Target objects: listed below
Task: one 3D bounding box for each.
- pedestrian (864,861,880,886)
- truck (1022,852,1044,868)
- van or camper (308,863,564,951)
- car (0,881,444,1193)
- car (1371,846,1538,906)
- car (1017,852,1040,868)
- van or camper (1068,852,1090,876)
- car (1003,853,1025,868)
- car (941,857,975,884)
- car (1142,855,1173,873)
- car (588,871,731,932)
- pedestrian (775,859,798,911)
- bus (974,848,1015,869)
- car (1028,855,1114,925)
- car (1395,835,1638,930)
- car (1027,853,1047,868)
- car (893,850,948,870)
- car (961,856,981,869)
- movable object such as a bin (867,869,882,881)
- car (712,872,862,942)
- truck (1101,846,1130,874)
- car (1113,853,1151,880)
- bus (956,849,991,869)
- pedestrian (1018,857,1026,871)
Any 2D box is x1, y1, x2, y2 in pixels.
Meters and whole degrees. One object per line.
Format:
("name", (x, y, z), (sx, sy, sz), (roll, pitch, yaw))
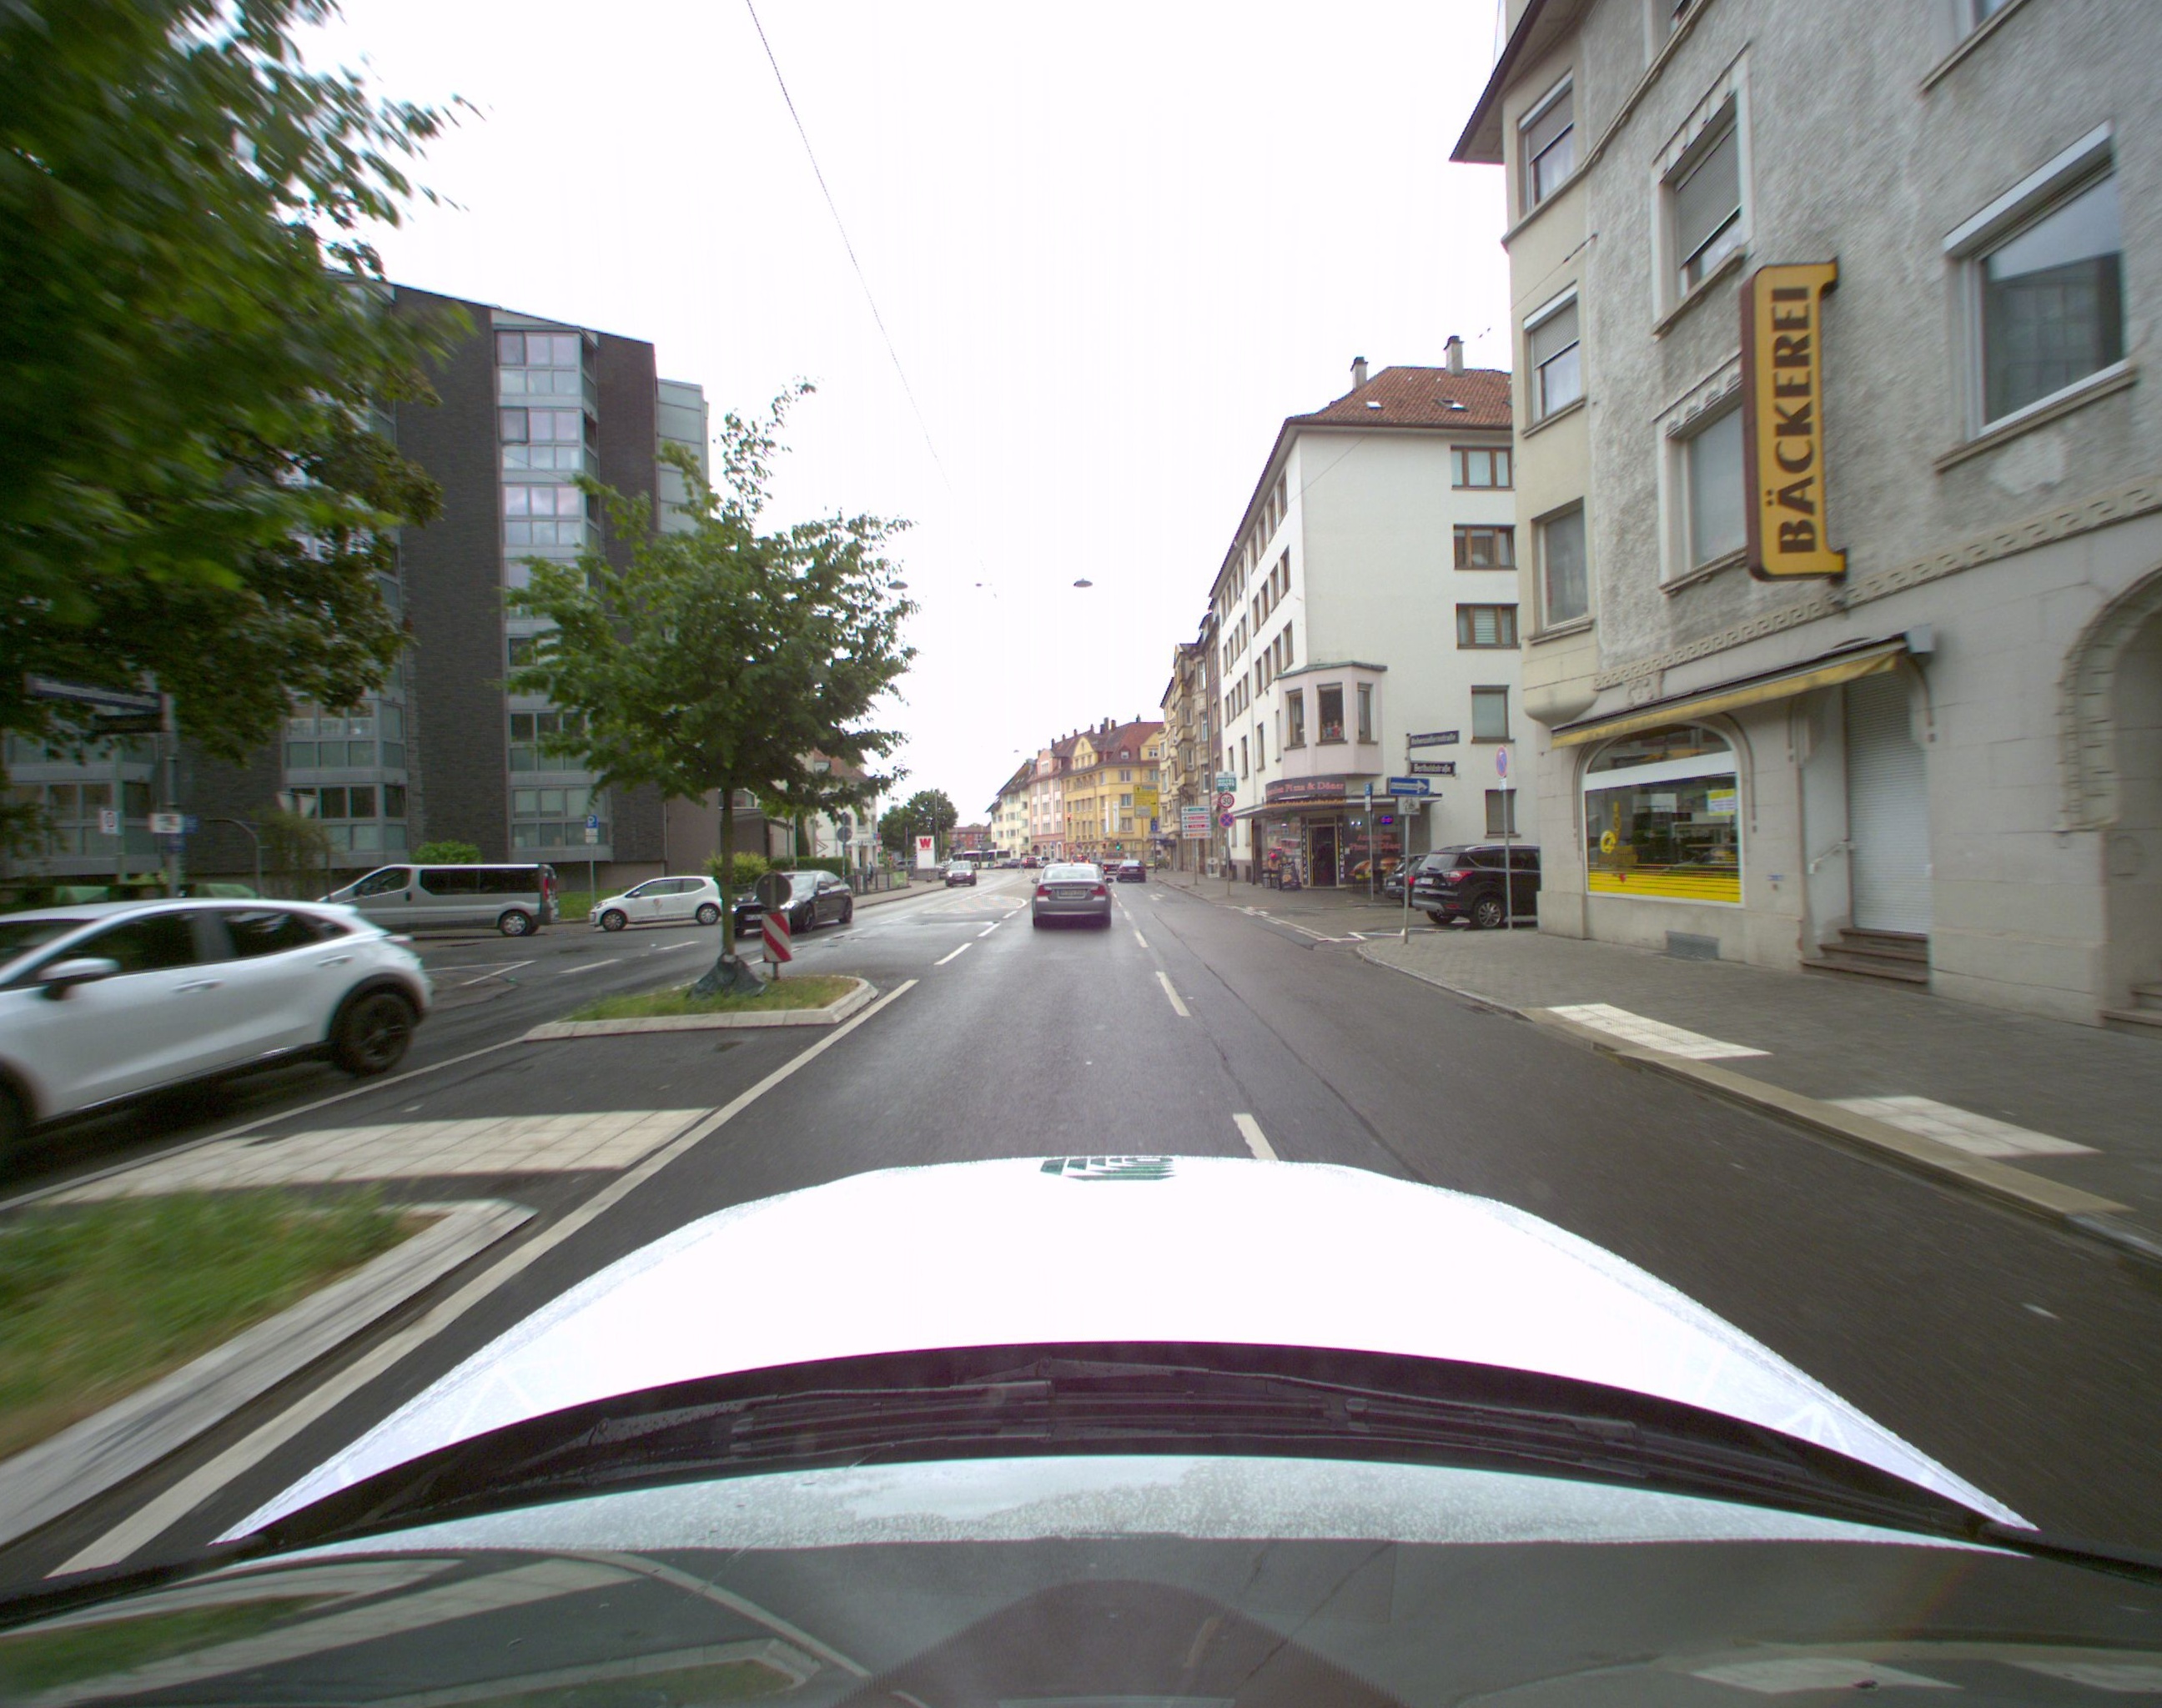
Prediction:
("pedestrian", (-14.179, 1.324, 55.240), (0.752, 1.685, 0.745), (-2, 0, -44))
("truck", (-7.648, 0.961, 129.850), (2.036, 2.389, 4.202), (0, 0, -25))
("van or camper", (-16.569, 1.268, 21.334), (4.981, 2.013, 1.981), (0, 0, -29))
("car", (-6.724, 1.074, 5.346), (1.814, 1.569, 4.088), (-3, 0, -1))
("car", (10.933, 0.649, 24.001), (4.101, 1.607, 1.802), (-1, -2, -6))
("car", (-7.087, 0.822, 110.210), (2.001, 2.013, 3.972), (-1, 0, -20))
("van or camper", (-0.197, 0.867, 74.954), (1.850, 2.146, 4.139), (-1, 0, -2))
("car", (-9.534, 0.897, 115.941), (2.001, 2.013, 3.972), (-1, 0, -21))
("car", (-8.134, 1.041, 53.557), (1.950, 1.659, 4.040), (-1, 0, -12))
("car", (8.595, 1.098, 90.857), (1.974, 2.013, 4.025), (-1, 0, 30))
("car", (-12.302, 1.311, 23.807), (3.602, 1.569, 1.723), (0, 0, -33))
("pedestrian", (-10.221, 1.070, 28.261), (0.573, 1.762, 0.580), (-1, 0, -6))
("bus", (-13.389, 0.729, 124.879), (2.926, 3.105, 9.058), (-2, 0, -28))
("car", (-0.223, 0.762, 19.183), (1.794, 1.464, 4.369), (0, 0, 0))
("car", (8.976, 0.552, 16.975), (4.132, 1.772, 1.870), (-1, 0, -6))
("car", (-6.708, 0.946, 123.874), (1.770, 2.180, 3.967), (2, -1, -25))
("car", (-13.966, 0.534, 70.916), (4.438, 1.526, 1.883), (2, -1, -5))
("car", (-15.418, 1.212, 114.020), (1.851, 1.684, 3.972), (-2, 0, -21))
("movable object such as a bin", (-14.163, 1.444, 55.893), (0.737, 0.789, 0.745), (0, 0, -44))
("car", (-7.044, 1.214, 20.094), (2.007, 1.426, 4.500), (-1, 0, 1))
("truck", (2.833, 0.486, 68.013), (2.217, 2.249, 5.062), (-1, 0, 0))
("car", (3.108, 0.771, 50.212), (1.795, 1.563, 3.994), (-1, -1, -4))
("bus", (-17.637, 0.791, 132.797), (2.925, 3.105, 8.793), (-2, 0, -27))
("pedestrian", (-6.212, 1.036, 86.014), (0.763, 1.529, 0.505), (1, -2, -20))
